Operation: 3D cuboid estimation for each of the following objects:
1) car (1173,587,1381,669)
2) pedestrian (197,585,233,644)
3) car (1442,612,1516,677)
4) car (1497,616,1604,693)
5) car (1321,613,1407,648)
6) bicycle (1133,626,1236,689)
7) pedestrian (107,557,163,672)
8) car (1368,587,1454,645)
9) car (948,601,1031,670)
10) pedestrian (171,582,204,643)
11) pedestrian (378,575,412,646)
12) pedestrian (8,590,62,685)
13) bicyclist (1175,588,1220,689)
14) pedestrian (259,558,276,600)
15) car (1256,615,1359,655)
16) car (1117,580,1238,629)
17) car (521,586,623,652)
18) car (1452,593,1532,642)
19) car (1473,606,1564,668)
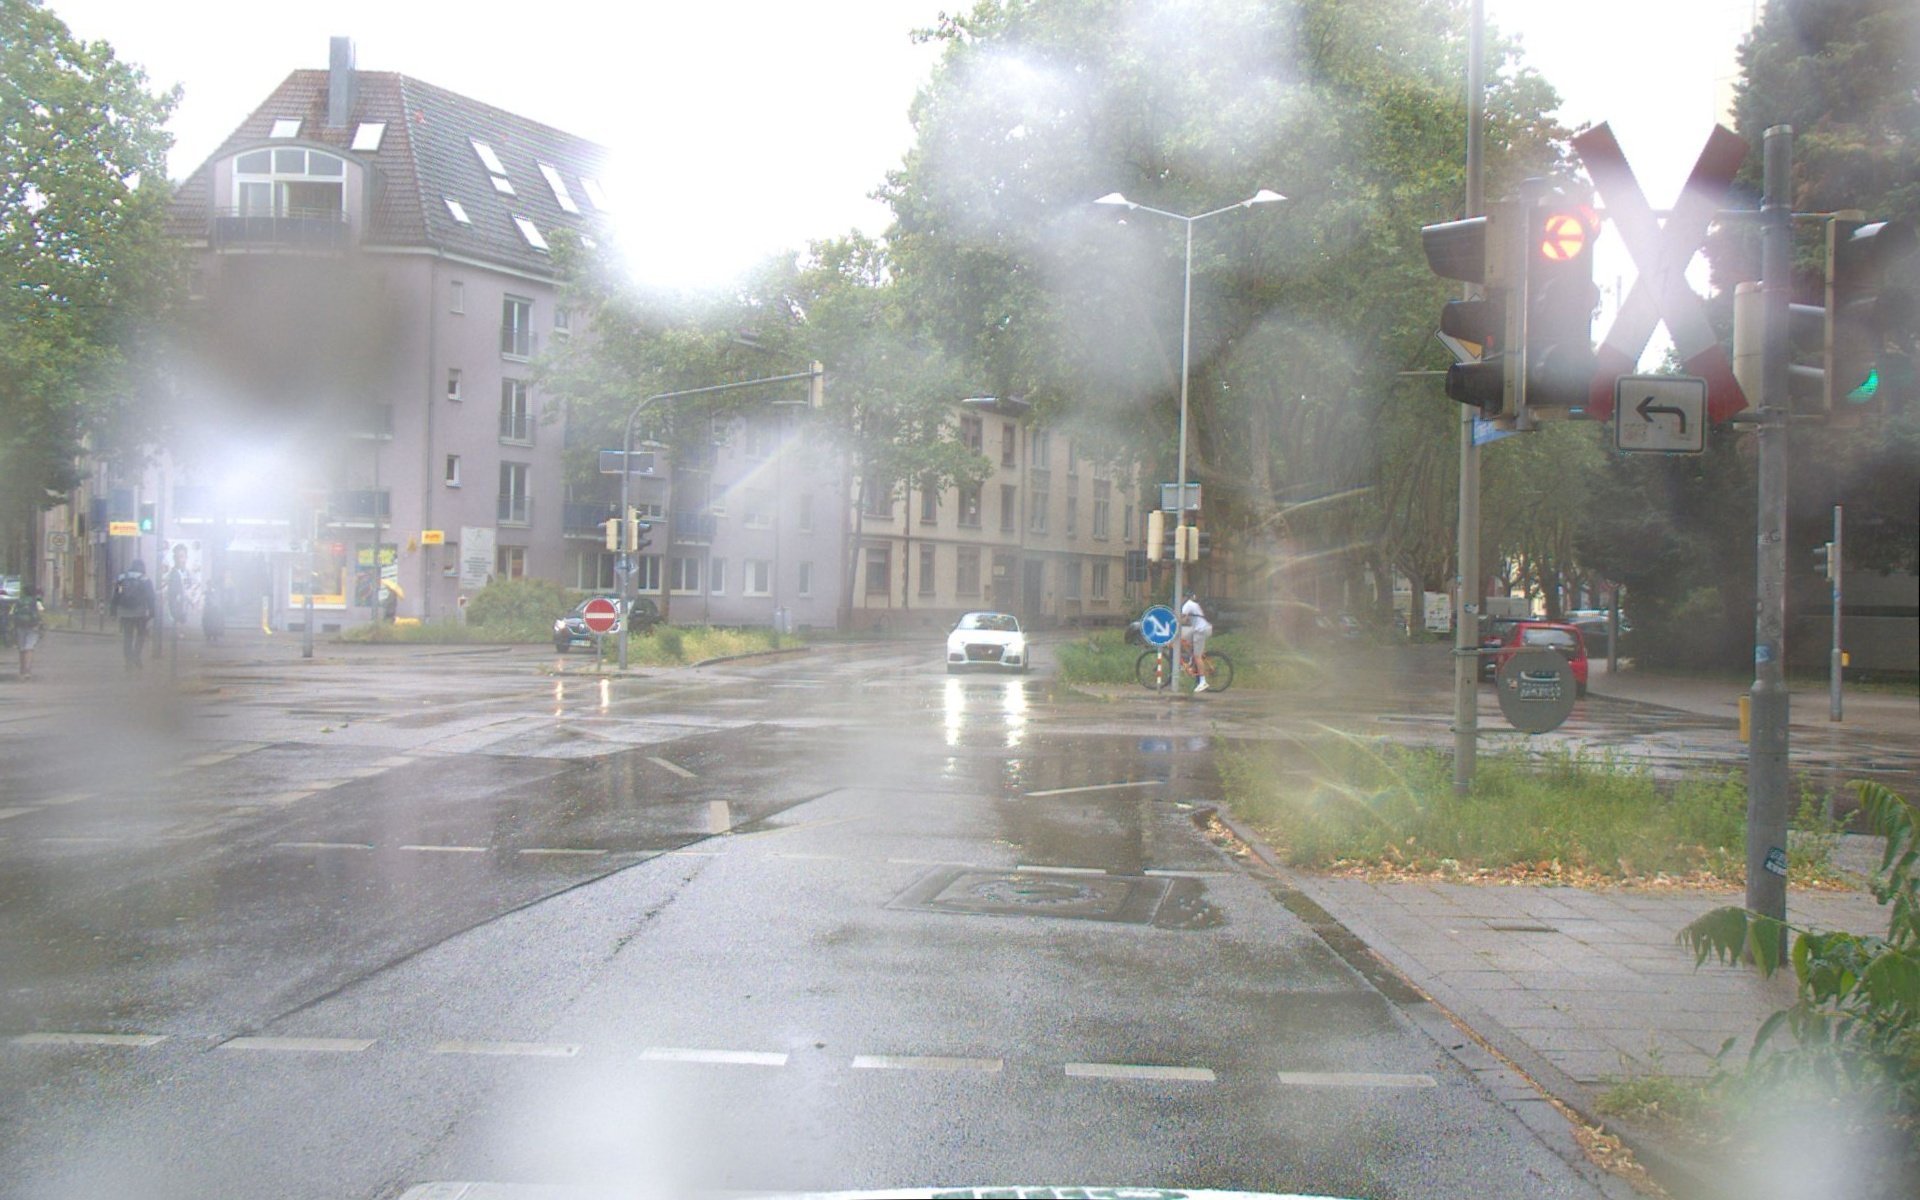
[{"bbox_3d":[6.283,0.534,32.792,3.902,1.512,2.002,1,0,12],"label":"car"},{"bbox_3d":[-19.888,0.384,44.161,0.742,1.560,0.783,1,-1,-33],"label":"pedestrian"},{"bbox_3d":[14.987,1.252,47.908,1.745,1.757,4.003,1,0,13],"label":"car"},{"bbox_3d":[13.049,1.161,36.735,1.754,1.524,4.003,1,0,13],"label":"car"},{"bbox_3d":[19.259,1.438,78.926,3.902,1.574,2.002,1,0,12],"label":"car"},{"bbox_3d":[4.128,1.049,30.442,1.833,1.100,0.657,1,0,7],"label":"bicycle"},{"bbox_3d":[-13.729,0.241,27.538,0.777,1.888,0.676,1,0,-25],"label":"pedestrian"},{"bbox_3d":[23.952,0.844,88.069,2.005,2.999,4.742,1,0,-21],"label":"car"},{"bbox_3d":[0.703,0.794,39.096,1.845,1.461,4.001,1,0,1],"label":"car"},{"bbox_3d":[-21.081,0.344,45.169,0.663,1.628,0.963,1,-1,-18],"label":"pedestrian"},{"bbox_3d":[-17.665,0.330,51.727,0.896,2.188,0.880,1,-1,-24],"label":"pedestrian"},{"bbox_3d":[-14.244,0.566,25.467,0.643,1.420,0.773,1,0,-35],"label":"pedestrian"},{"bbox_3d":[4.360,0.694,30.419,0.778,1.817,0.697,1,-1,7],"label":"bicyclist"},{"bbox_3d":[-22.626,-0.675,54.042,0.437,1.353,0.559,1,-1,-18],"label":"pedestrian"},{"bbox_3d":[13.773,1.372,65.628,3.902,1.512,2.002,1,0,12],"label":"car"},{"bbox_3d":[7.161,0.153,54.292,3.784,1.512,1.717,1,0,12],"label":"car"},{"bbox_3d":[-9.628,0.442,41.344,1.716,1.538,3.838,1,0,-2],"label":"car"},{"bbox_3d":[33.668,1.081,104.812,1.974,2.999,4.720,1,0,-31],"label":"car"},{"bbox_3d":[13.894,0.876,41.305,1.745,1.371,3.932,2,1,13],"label":"car"}]
